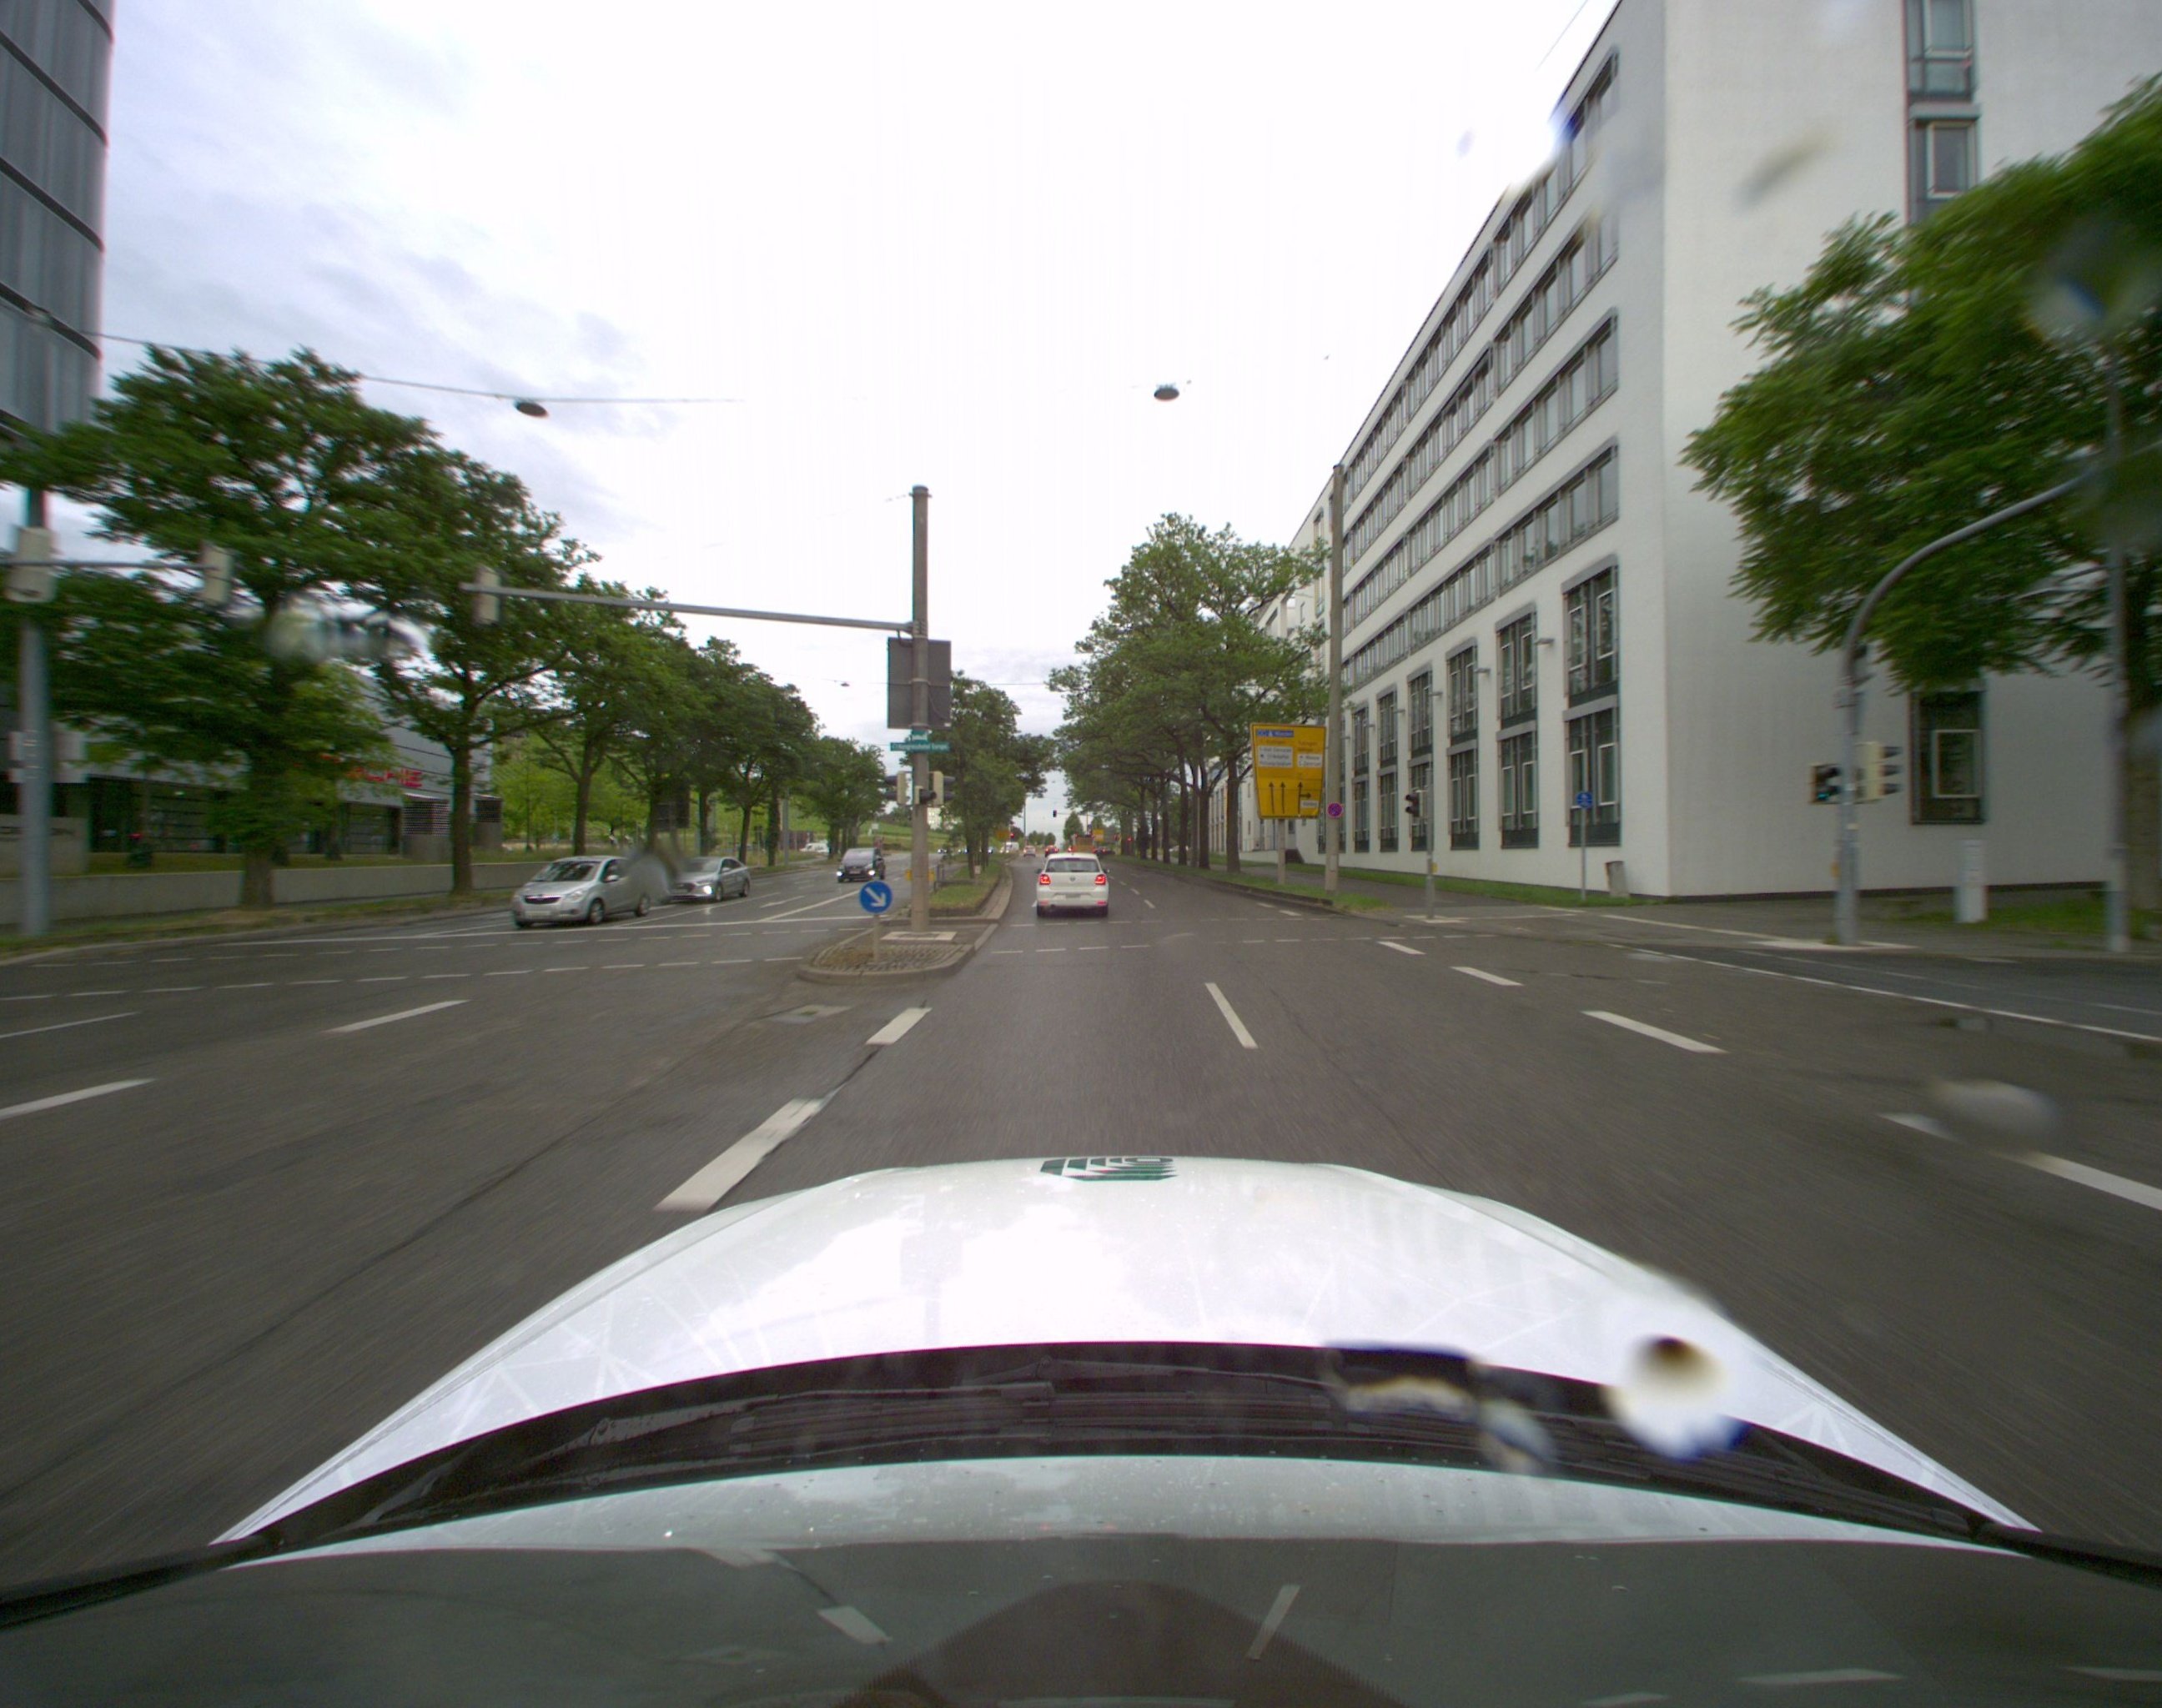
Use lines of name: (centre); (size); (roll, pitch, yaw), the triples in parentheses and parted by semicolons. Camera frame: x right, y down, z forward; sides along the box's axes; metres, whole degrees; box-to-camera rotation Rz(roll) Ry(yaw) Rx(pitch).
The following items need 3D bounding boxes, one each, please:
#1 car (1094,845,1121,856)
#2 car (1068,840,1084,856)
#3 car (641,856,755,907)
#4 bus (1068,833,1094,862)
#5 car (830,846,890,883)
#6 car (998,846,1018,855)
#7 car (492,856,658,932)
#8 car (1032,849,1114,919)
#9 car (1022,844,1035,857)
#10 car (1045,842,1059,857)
car: (3.656, -0.455, 111.681); (1.679, 1.515, 3.851); (-1, -1, 43)
car: (-0.627, -0.802, 107.140); (1.988, 2.014, 3.996); (-1, -1, -2)
car: (-12.365, 0.831, 26.670); (1.811, 1.411, 4.647); (-2, 1, -5)
bus: (-0.071, -0.805, 99.333); (2.821, 3.266, 9.992); (0, 1, -2)
car: (-10.948, 0.459, 40.700); (1.991, 1.615, 5.110); (-2, 1, -6)
car: (-17.257, -0.942, 191.929); (1.975, 2.013, 5.744); (-1, 1, 25)
car: (-11.718, 0.846, 19.189); (1.747, 1.520, 3.810); (-2, 0, -5)
car: (-0.207, 0.658, 19.981); (1.789, 1.502, 3.998); (1, 1, -1)
car: (-7.290, -0.462, 113.434); (1.790, 1.741, 3.995); (-1, 0, -3)
car: (-3.978, -0.648, 111.838); (1.988, 2.014, 3.996); (-1, -1, -2)
